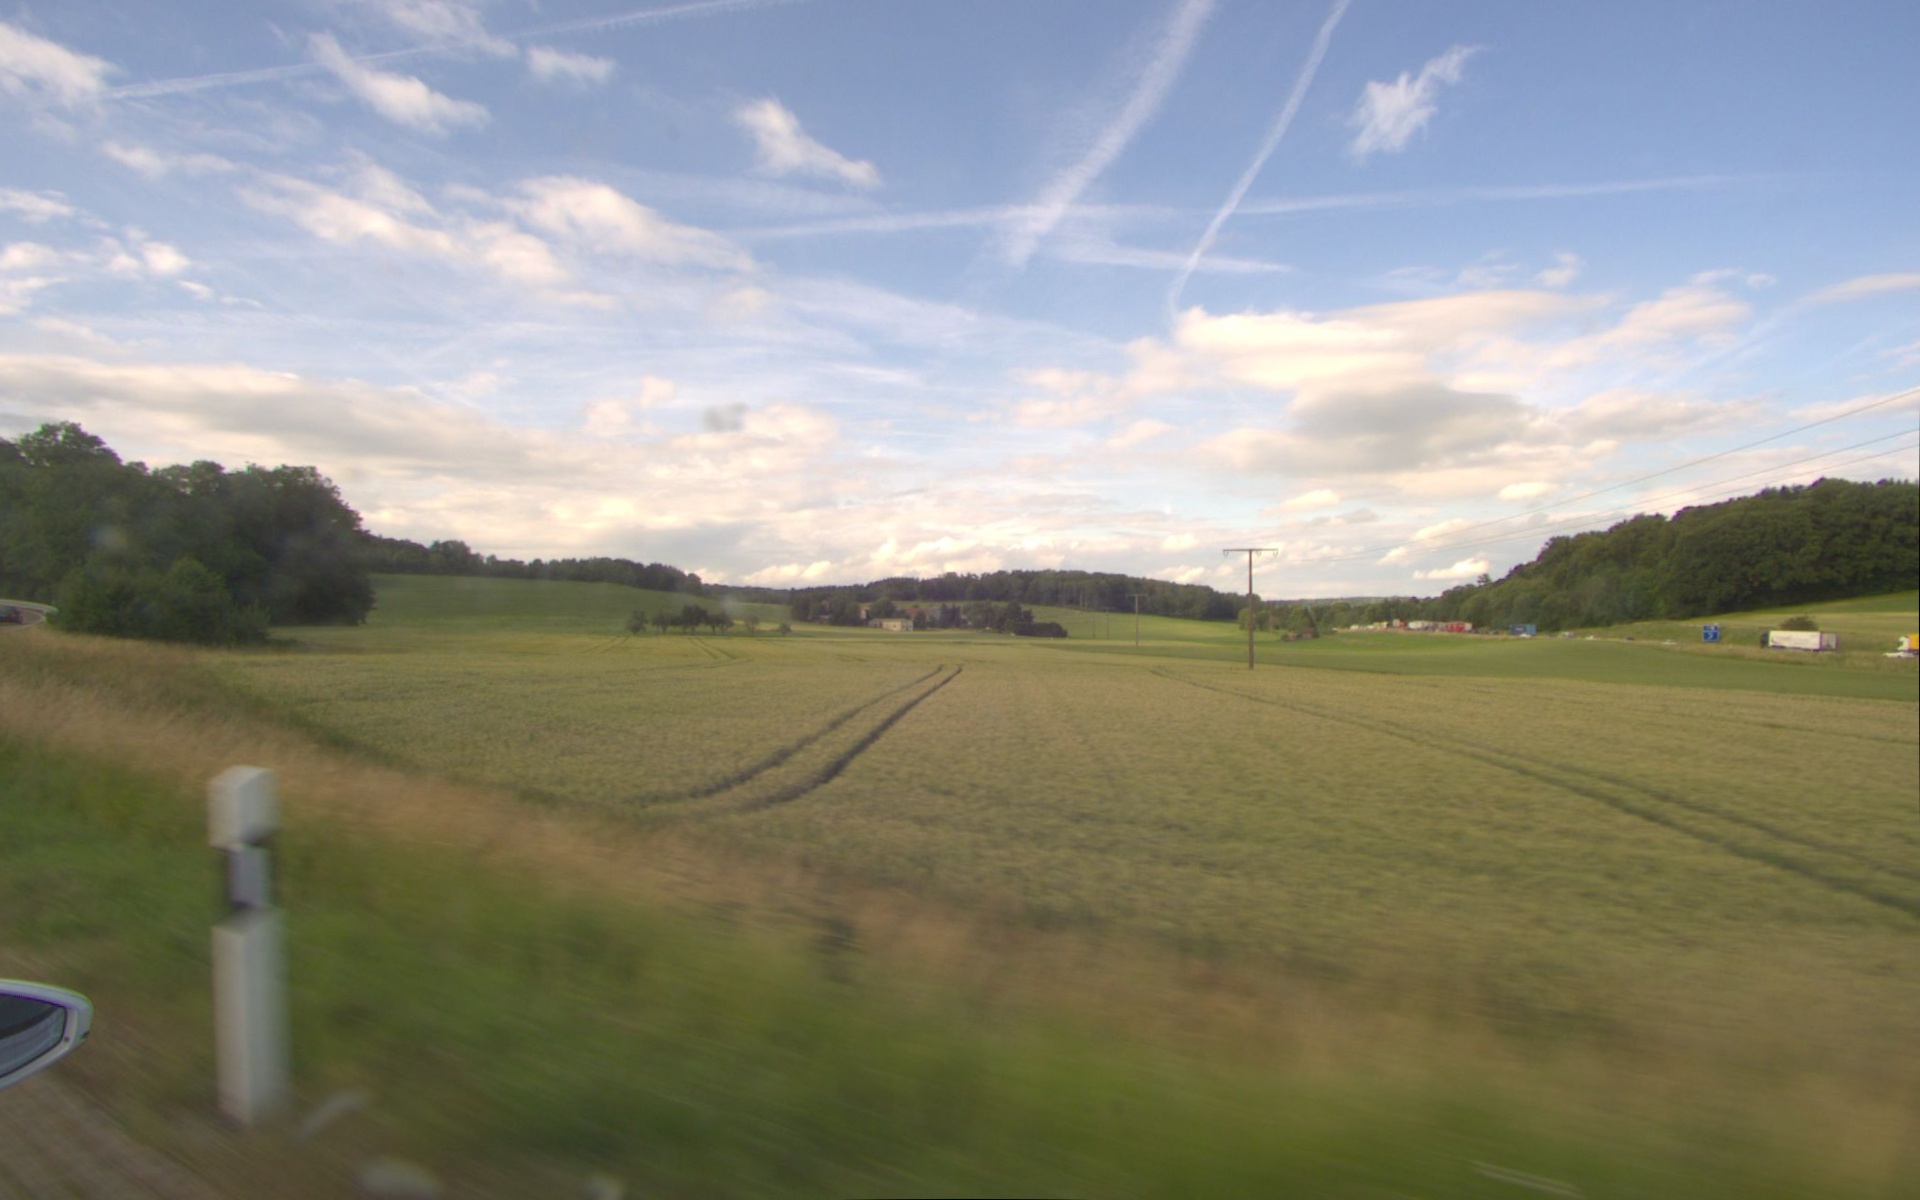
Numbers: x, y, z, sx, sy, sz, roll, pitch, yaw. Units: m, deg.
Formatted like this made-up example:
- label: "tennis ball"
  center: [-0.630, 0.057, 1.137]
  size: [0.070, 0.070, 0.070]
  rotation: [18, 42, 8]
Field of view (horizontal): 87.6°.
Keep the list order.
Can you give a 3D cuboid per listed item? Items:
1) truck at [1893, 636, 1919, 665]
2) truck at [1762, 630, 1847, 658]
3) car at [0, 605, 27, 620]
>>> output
- label: "truck"
  center: [145.245, 7.559, 149.137]
  size: [3.763, 4.112, 9.803]
  rotation: [-3, -1, 4]
- label: "truck"
  center: [149.973, 7.753, 178.118]
  size: [4.002, 4.047, 14.422]
  rotation: [-4, -1, 6]
- label: "car"
  center: [-78.686, 1.022, 83.175]
  size: [1.458, 1.243, 3.274]
  rotation: [-1, 1, -38]
